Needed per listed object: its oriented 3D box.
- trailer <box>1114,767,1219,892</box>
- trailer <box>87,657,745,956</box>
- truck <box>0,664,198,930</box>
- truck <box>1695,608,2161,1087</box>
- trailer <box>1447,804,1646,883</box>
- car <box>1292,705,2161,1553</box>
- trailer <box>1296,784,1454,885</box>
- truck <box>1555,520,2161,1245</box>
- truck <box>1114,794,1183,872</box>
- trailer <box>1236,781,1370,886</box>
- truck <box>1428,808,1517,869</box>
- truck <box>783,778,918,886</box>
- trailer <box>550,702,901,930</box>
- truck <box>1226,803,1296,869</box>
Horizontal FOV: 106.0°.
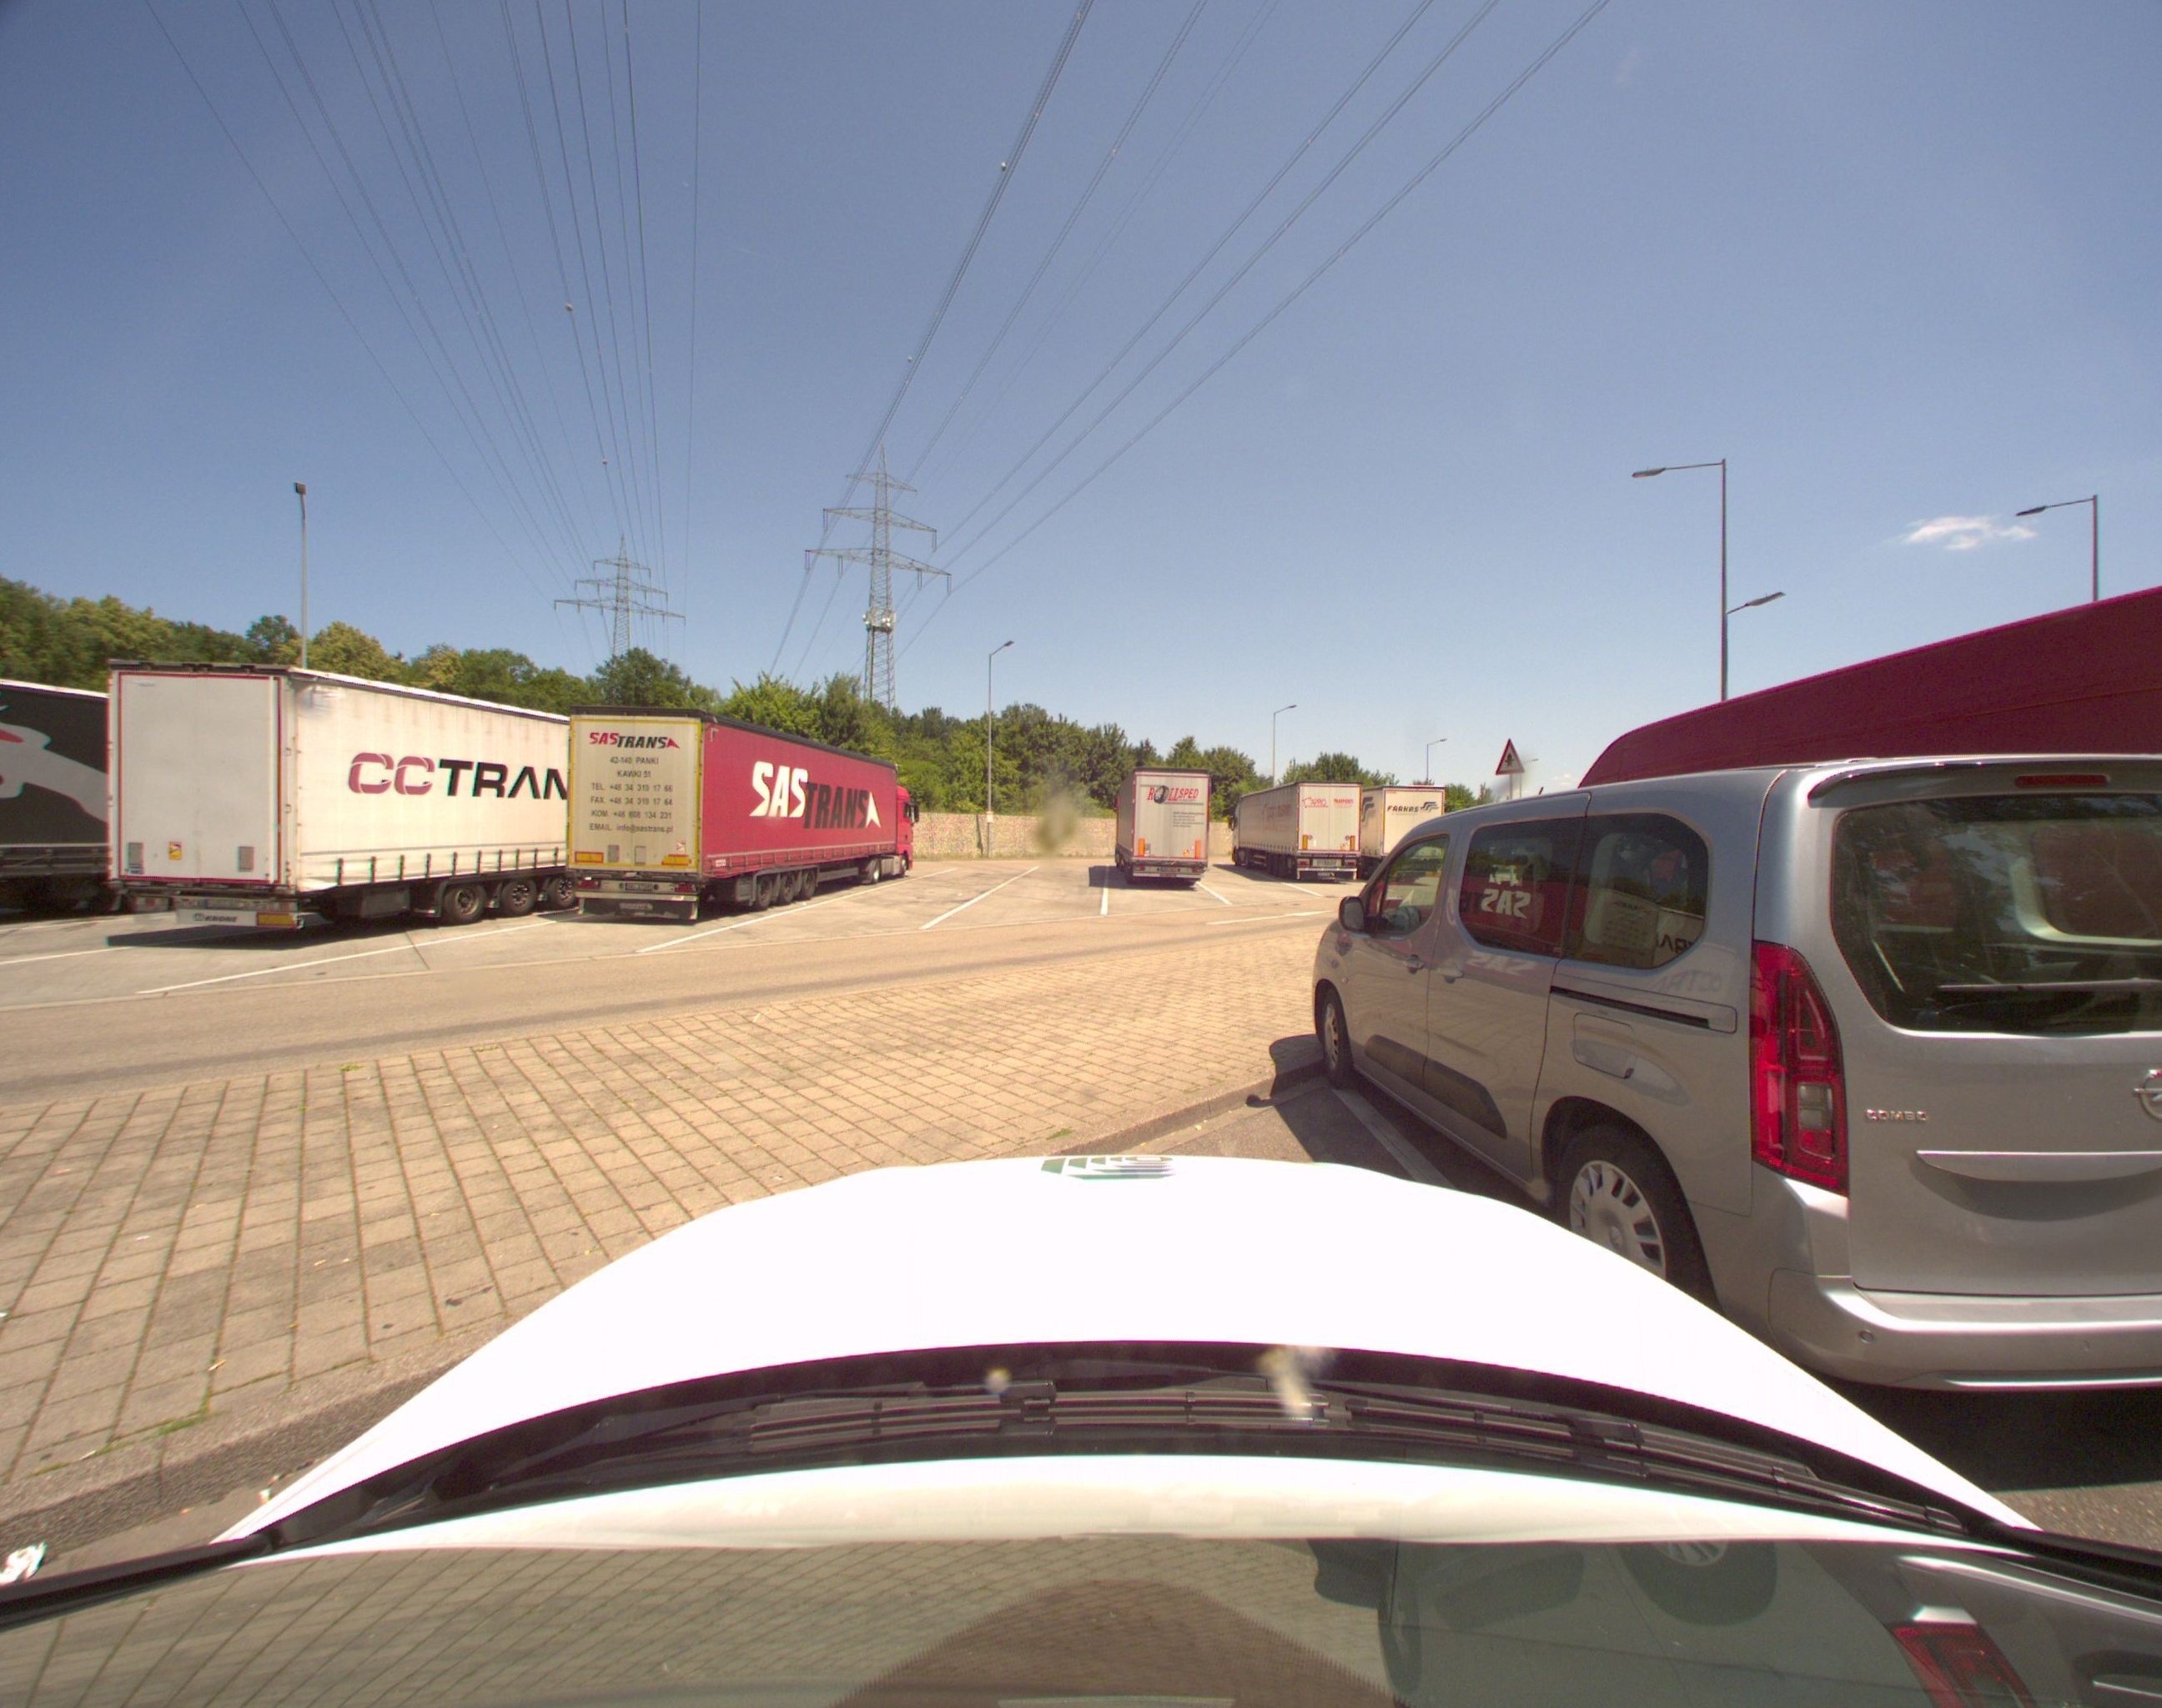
[{"bbox_3d":[3.065,-1.060,33.699,3.122,3.989,14.401,1,2,1],"label":"trailer"},{"bbox_3d":[-12.128,-0.906,18.340,2.785,4.084,14.139,1,2,2],"label":"trailer"},{"bbox_3d":[-18.540,-0.964,13.789,2.726,4.239,3.997,1,2,2],"label":"truck"},{"bbox_3d":[7.990,-0.033,6.458,2.444,2.912,5.663,-1,-1,7],"label":"truck"},{"bbox_3d":[24.102,-0.732,43.755,2.801,3.507,14.403,1,2,2],"label":"trailer"},{"bbox_3d":[2.489,0.578,3.886,1.864,1.863,4.176,1,1,0],"label":"car"},{"bbox_3d":[13.604,-1.033,39.609,2.801,3.989,14.403,1,2,2],"label":"trailer"},{"bbox_3d":[5.135,0.122,4.910,1.968,2.622,5.314,0,-1,7],"label":"truck"},{"bbox_3d":[3.231,-1.077,40.593,3.092,3.566,5.903,1,2,2],"label":"truck"},{"bbox_3d":[9.931,-1.042,38.647,2.801,3.989,14.403,1,2,2],"label":"trailer"},{"bbox_3d":[24.359,-1.003,50.986,2.792,3.521,5.903,1,2,2],"label":"truck"},{"bbox_3d":[-7.815,-0.780,28.479,2.840,3.327,5.903,1,2,2],"label":"truck"},{"bbox_3d":[-8.063,-0.943,21.909,2.781,4.084,14.139,1,2,2],"label":"trailer"},{"bbox_3d":[10.194,-1.071,46.748,2.852,3.521,5.903,1,2,2],"label":"truck"}]
